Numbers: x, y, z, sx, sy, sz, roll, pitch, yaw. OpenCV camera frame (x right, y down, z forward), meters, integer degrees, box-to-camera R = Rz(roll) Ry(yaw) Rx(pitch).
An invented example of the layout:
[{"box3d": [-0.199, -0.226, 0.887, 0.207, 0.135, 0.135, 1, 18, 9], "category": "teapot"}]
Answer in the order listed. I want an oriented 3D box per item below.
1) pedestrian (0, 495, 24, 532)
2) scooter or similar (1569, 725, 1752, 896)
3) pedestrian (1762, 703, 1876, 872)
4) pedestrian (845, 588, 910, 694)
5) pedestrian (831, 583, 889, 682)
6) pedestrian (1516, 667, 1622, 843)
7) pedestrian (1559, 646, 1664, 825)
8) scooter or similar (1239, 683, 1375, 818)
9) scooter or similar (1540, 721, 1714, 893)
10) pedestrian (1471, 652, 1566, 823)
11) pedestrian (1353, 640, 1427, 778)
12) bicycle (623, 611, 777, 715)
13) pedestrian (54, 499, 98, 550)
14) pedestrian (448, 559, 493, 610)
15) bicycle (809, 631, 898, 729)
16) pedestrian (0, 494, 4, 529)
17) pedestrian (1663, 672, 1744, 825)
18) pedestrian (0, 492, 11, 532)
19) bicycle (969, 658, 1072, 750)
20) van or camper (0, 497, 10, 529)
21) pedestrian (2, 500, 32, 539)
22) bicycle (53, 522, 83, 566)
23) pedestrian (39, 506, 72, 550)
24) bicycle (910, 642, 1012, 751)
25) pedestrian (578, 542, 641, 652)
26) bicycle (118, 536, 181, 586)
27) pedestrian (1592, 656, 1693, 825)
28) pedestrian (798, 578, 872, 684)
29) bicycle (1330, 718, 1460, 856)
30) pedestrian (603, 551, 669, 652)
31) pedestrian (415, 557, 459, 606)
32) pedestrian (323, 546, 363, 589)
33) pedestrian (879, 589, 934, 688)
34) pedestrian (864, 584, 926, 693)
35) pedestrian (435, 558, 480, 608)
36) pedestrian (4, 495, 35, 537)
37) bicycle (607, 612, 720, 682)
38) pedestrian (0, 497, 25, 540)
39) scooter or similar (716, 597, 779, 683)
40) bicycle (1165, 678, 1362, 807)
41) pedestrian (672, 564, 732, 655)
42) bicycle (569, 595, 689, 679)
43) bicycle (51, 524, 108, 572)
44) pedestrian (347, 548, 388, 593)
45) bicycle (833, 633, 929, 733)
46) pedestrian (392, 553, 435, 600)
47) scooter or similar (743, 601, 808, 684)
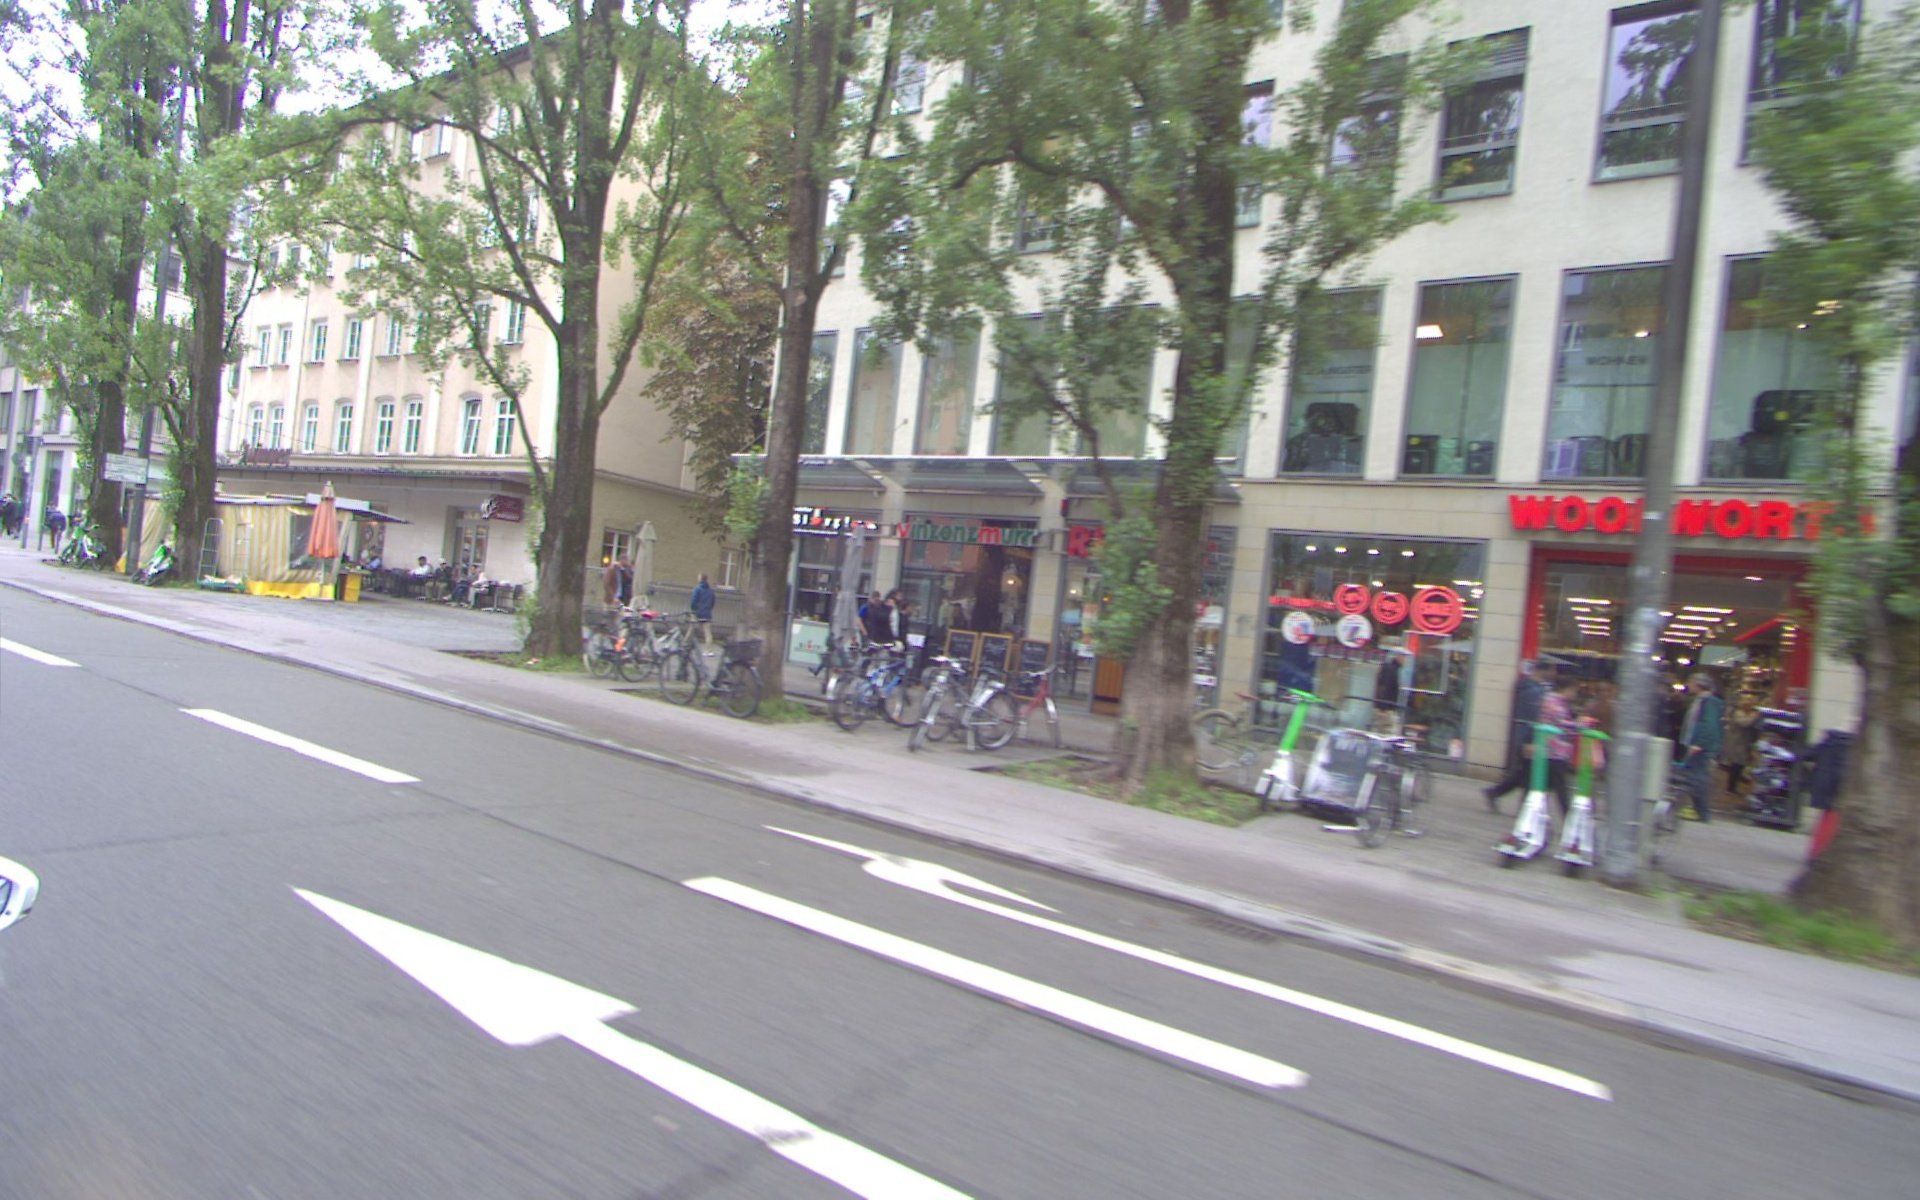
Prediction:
[{"box3d": [-49.184, -4.475, 52.088, 0.699, 1.779, 0.750, 6, 0, 34], "category": "pedestrian"}, {"box3d": [5.865, 1.733, 8.491, 0.303, 1.183, 1.240, 7, -2, -18], "category": "scooter or similar"}, {"box3d": [8.648, 1.863, 10.156, 0.686, 1.538, 0.565, 7, -1, 36], "category": "pedestrian"}, {"box3d": [-1.417, 0.707, 17.256, 0.680, 1.731, 0.657, 7, 0, 32], "category": "pedestrian"}, {"box3d": [-1.925, 0.625, 19.346, 0.663, 1.806, 0.657, 7, 0, 34], "category": "pedestrian"}, {"box3d": [6.309, 1.579, 10.419, 0.739, 1.668, 0.546, 7, -1, 36], "category": "pedestrian"}, {"box3d": [7.526, 1.540, 11.620, 0.808, 1.892, 0.752, 7, 0, 36], "category": "pedestrian"}, {"box3d": [3.335, 1.453, 9.646, 1.230, 1.183, 0.400, 7, -1, -28], "category": "scooter or similar"}, {"box3d": [5.524, 1.682, 8.401, 0.281, 1.183, 1.241, 7, -2, -15], "category": "scooter or similar"}, {"box3d": [6.208, 1.506, 11.187, 0.686, 1.763, 0.565, 7, -1, 36], "category": "pedestrian"}, {"box3d": [5.925, 1.493, 13.856, 0.632, 1.788, 0.594, 7, -1, 36], "category": "pedestrian"}, {"box3d": [-3.358, 0.794, 12.931, 1.968, 1.074, 0.434, 7, 0, 23], "category": "bicycle"}, {"box3d": [-31.906, -2.714, 36.302, 0.846, 1.723, 0.665, 5, -1, -13], "category": "pedestrian"}, {"box3d": [-13.521, -0.417, 27.797, 0.688, 1.280, 0.776, 6, 0, 34], "category": "pedestrian"}, {"box3d": [-1.314, 0.997, 12.726, 0.281, 1.130, 1.678, 7, -1, 21], "category": "bicycle"}, {"box3d": [-49.513, -4.566, 51.348, 1.001, 1.779, 0.750, 7, 0, 35], "category": "pedestrian"}, {"box3d": [9.321, 1.843, 12.631, 0.632, 1.788, 0.546, 7, -1, 37], "category": "pedestrian"}, {"box3d": [-43.201, -3.966, 45.031, 0.846, 1.779, 0.750, 4, -1, 34], "category": "pedestrian"}, {"box3d": [0.786, 1.273, 12.416, 0.386, 0.999, 2.004, 6, -2, 28], "category": "bicycle"}, {"box3d": [-60.009, -5.582, 60.289, 1.869, 1.888, 4.107, 6, -3, 37], "category": "van or camper"}, {"box3d": [-44.419, -3.782, 47.395, 0.947, 1.698, 0.750, 7, 0, 35], "category": "pedestrian"}, {"box3d": [-24.005, -1.523, 27.089, 0.404, 1.080, 1.791, 13, -6, -40], "category": "bicycle"}, {"box3d": [-35.810, -2.840, 39.820, 0.723, 1.657, 0.750, 4, 0, 35], "category": "pedestrian"}, {"box3d": [0.054, 1.114, 11.826, 0.334, 1.149, 1.870, 7, -1, 25], "category": "bicycle"}, {"box3d": [-6.728, -0.060, 19.293, 0.711, 1.995, 0.656, 7, 1, 36], "category": "pedestrian"}, {"box3d": [-18.899, -0.906, 23.444, 1.741, 0.987, 0.509, 6, -2, 32], "category": "bicycle"}, {"box3d": [8.305, 1.685, 12.259, 0.808, 1.876, 0.752, 7, -1, 35], "category": "pedestrian"}, {"box3d": [-2.316, 0.580, 18.743, 0.962, 1.837, 0.813, 7, 0, 12], "category": "pedestrian"}, {"box3d": [3.830, 1.579, 8.783, 0.387, 1.022, 1.836, 7, 0, 42], "category": "bicycle"}, {"box3d": [-6.422, 0.029, 19.958, 0.891, 1.873, 0.656, 7, 0, 35], "category": "pedestrian"}, {"box3d": [-14.977, -0.540, 28.807, 0.688, 1.280, 0.776, 6, 0, 34], "category": "pedestrian"}, {"box3d": [-19.917, -1.050, 32.471, 0.688, 1.280, 0.776, 6, 0, 34], "category": "pedestrian"}, {"box3d": [-1.027, 0.745, 19.386, 0.663, 1.806, 0.565, 7, 0, 34], "category": "pedestrian"}, {"box3d": [-1.150, 0.687, 17.879, 0.680, 1.842, 0.622, 7, 0, 32], "category": "pedestrian"}, {"box3d": [-14.108, -0.464, 28.252, 0.688, 1.280, 0.776, 6, 0, 34], "category": "pedestrian"}, {"box3d": [-42.648, -3.809, 45.608, 0.845, 1.779, 0.750, 7, 0, 34], "category": "pedestrian"}, {"box3d": [-4.388, 0.725, 15.047, 0.281, 0.956, 2.004, 7, -1, 25], "category": "bicycle"}, {"box3d": [-41.594, -3.576, 44.034, 0.740, 1.779, 0.709, 7, 0, 34], "category": "pedestrian"}, {"box3d": [-3.518, 0.654, 16.614, 1.019, 1.289, 0.247, 6, 0, 34], "category": "scooter or similar"}, {"box3d": [3.309, 1.530, 11.126, 1.975, 1.076, 0.391, 6, 1, 37], "category": "bicycle"}, {"box3d": [-5.493, 0.204, 21.428, 0.745, 1.836, 0.743, 7, 0, 37], "category": "pedestrian"}, {"box3d": [-4.858, 0.579, 14.920, 0.281, 1.095, 2.005, 6, -2, 25], "category": "bicycle"}, {"box3d": [-22.454, -1.333, 25.647, 1.741, 1.060, 0.509, 6, -2, 32], "category": "bicycle"}, {"box3d": [-18.512, -0.919, 31.427, 0.688, 1.280, 0.776, 6, 0, 34], "category": "pedestrian"}, {"box3d": [-0.952, 1.023, 12.537, 0.389, 1.120, 1.666, 7, -1, 22], "category": "bicycle"}, {"box3d": [-16.218, -0.691, 29.852, 0.688, 1.280, 0.776, 6, 0, 34], "category": "pedestrian"}, {"box3d": [-3.142, 0.712, 17.112, 1.019, 1.289, 0.330, 6, 0, 33], "category": "scooter or similar"}]
